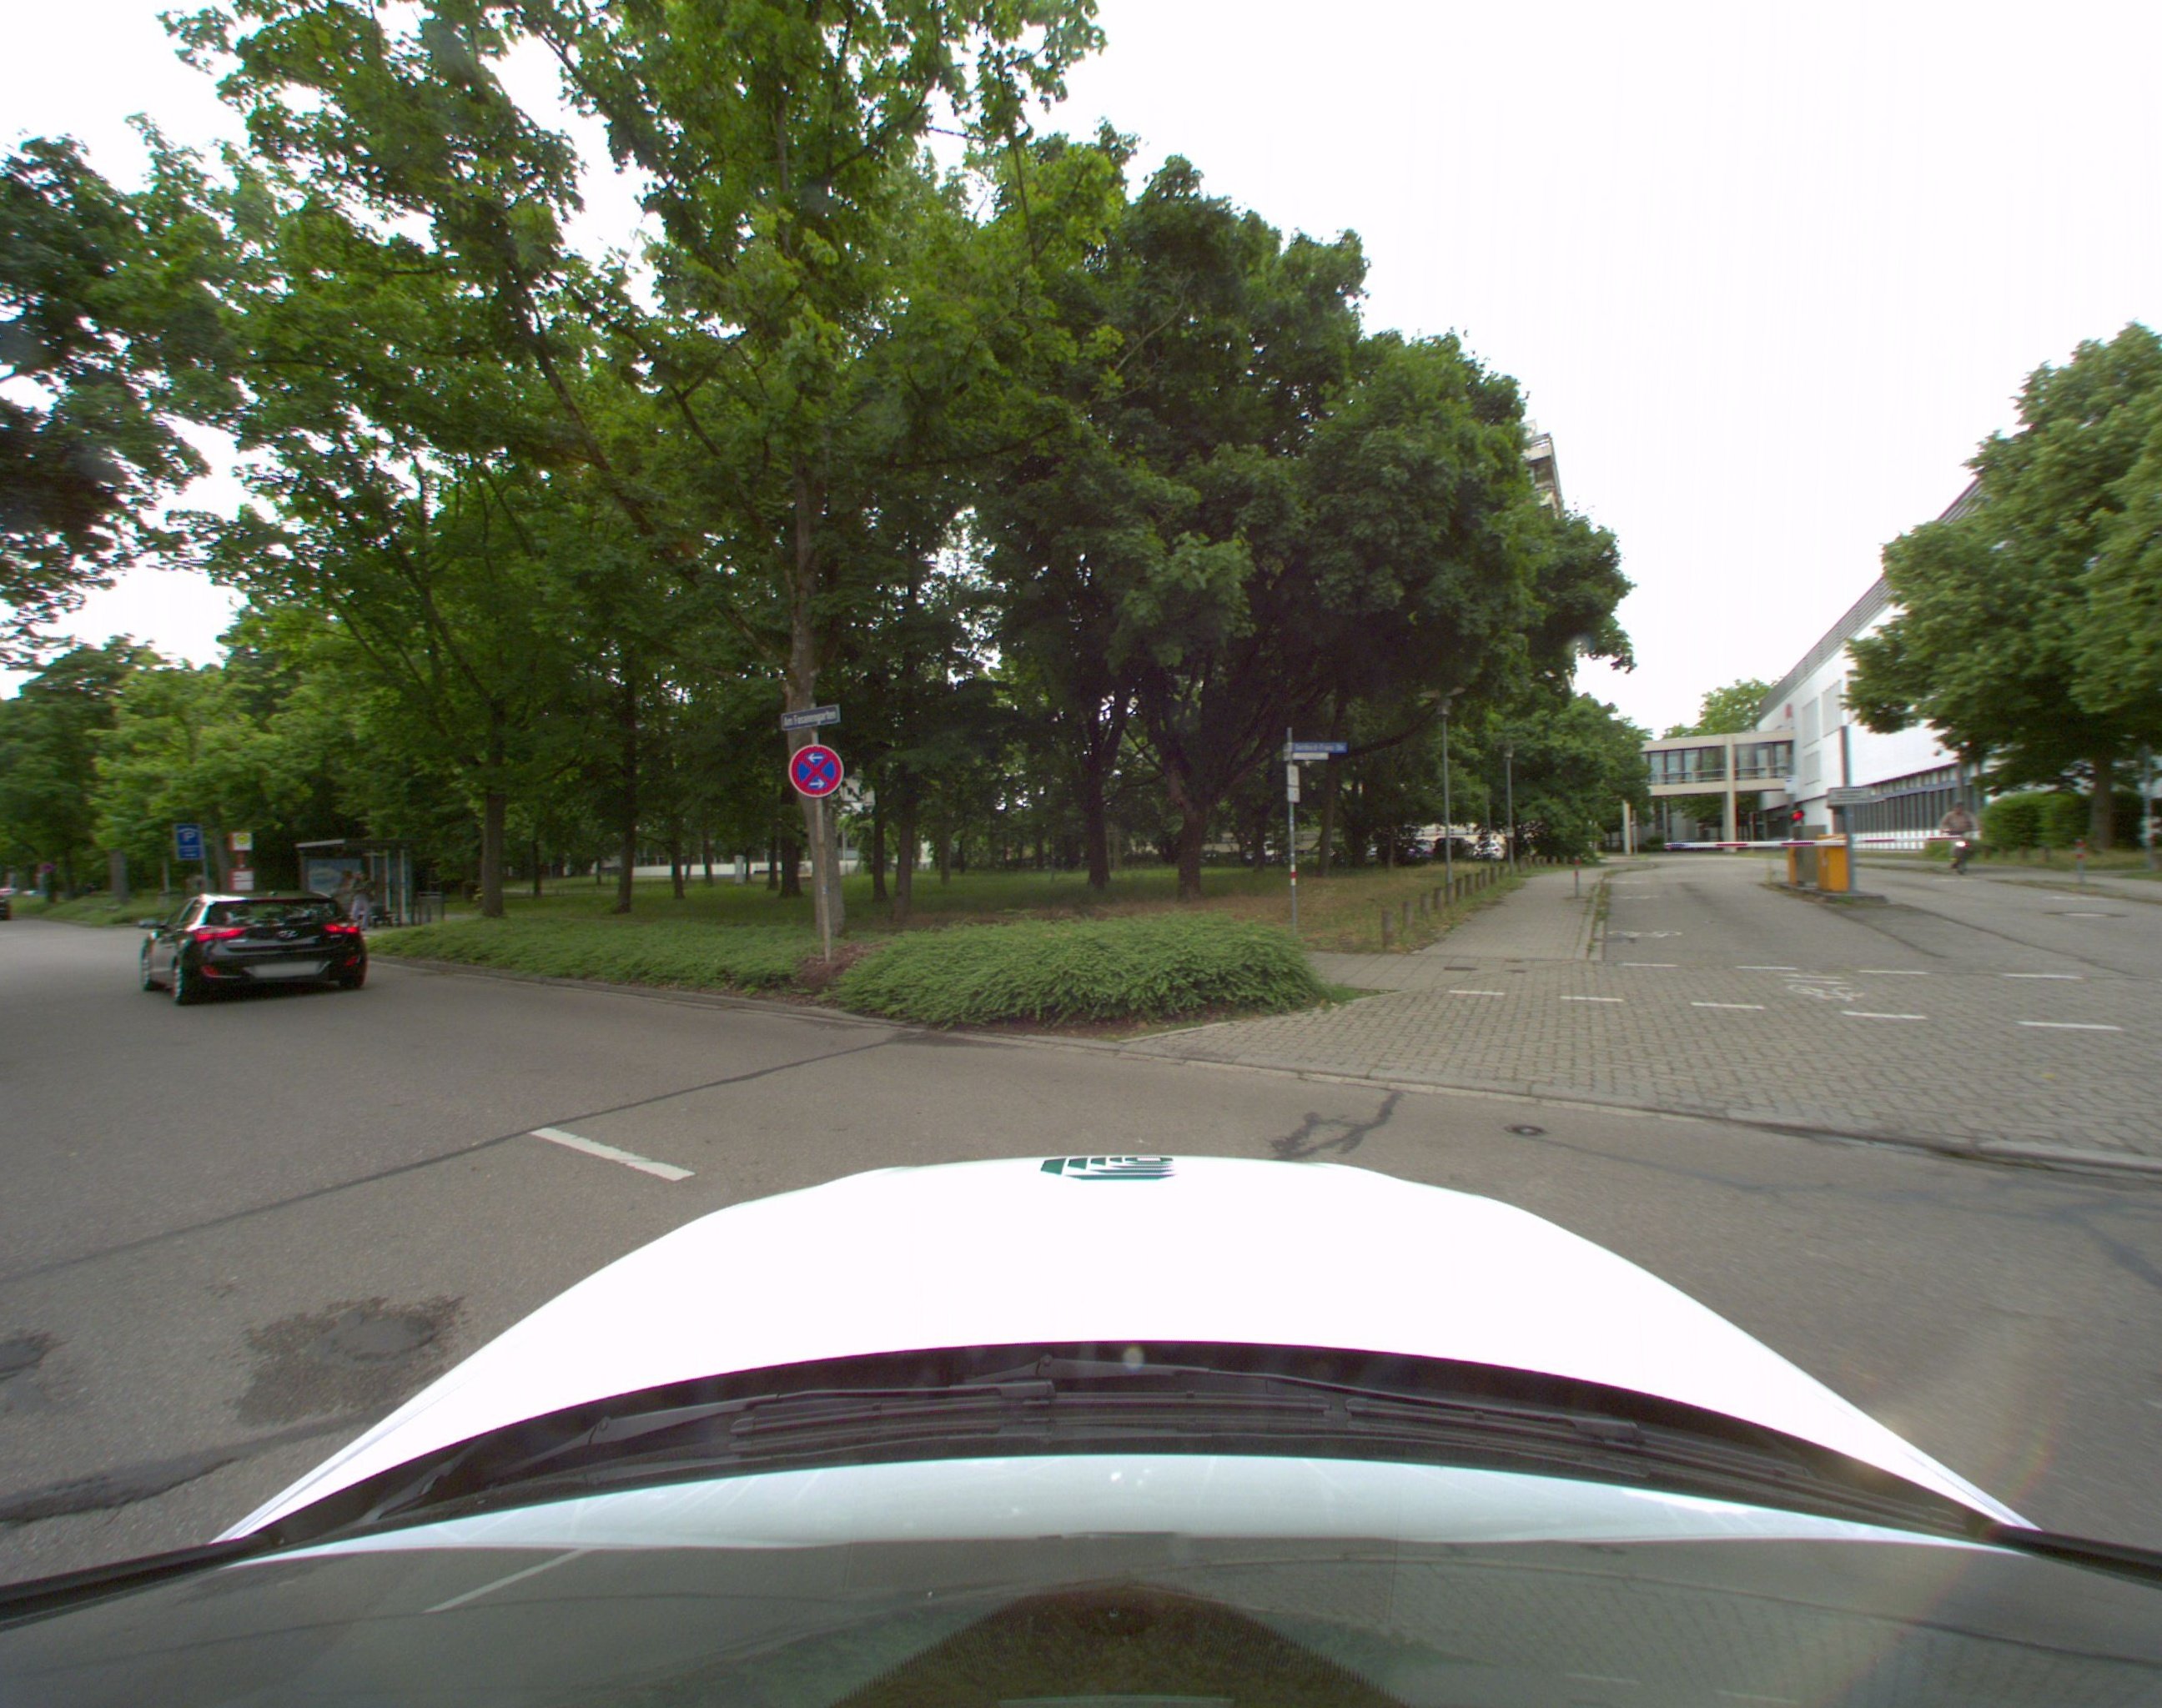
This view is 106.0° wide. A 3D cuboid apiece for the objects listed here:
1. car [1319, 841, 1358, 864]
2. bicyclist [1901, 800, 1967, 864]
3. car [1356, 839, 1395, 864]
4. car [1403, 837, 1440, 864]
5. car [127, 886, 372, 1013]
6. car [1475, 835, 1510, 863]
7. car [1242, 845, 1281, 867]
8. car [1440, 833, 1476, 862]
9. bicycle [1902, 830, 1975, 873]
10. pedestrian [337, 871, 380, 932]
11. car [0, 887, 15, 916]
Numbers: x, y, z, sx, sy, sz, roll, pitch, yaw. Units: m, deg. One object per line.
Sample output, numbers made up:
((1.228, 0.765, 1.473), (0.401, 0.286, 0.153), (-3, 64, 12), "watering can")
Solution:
((19.315, -0.097, 61.011), (1.974, 1.618, 4.025), (-2, 0, 29), "car")
((22.880, -0.572, 21.879), (1.007, 1.644, 0.929), (-2, 0, 34), "bicyclist")
((21.540, -0.155, 59.488), (1.974, 1.728, 4.024), (-2, -2, 29), "car")
((24.300, -0.221, 58.094), (1.974, 1.794, 4.024), (-2, -2, 29), "car")
((-12.043, 1.240, 11.750), (3.778, 1.462, 1.864), (-2, -1, 35), "car")
((28.154, -0.316, 55.673), (1.974, 1.762, 4.024), (-2, -1, 29), "car")
((14.367, 0.128, 64.653), (1.899, 1.618, 4.025), (-2, 0, 29), "car")
((26.366, -0.431, 56.920), (1.974, 1.882, 4.024), (-2, -2, 29), "car")
((22.806, -0.088, 21.697), (0.858, 1.074, 2.155), (-2, 0, 34), "bicycle")
((-19.378, 1.254, 21.853), (0.689, 1.583, 0.660), (-2, 0, 34), "pedestrian")
((-57.534, 2.537, 42.445), (4.064, 1.462, 1.882), (-2, 0, 31), "car")
